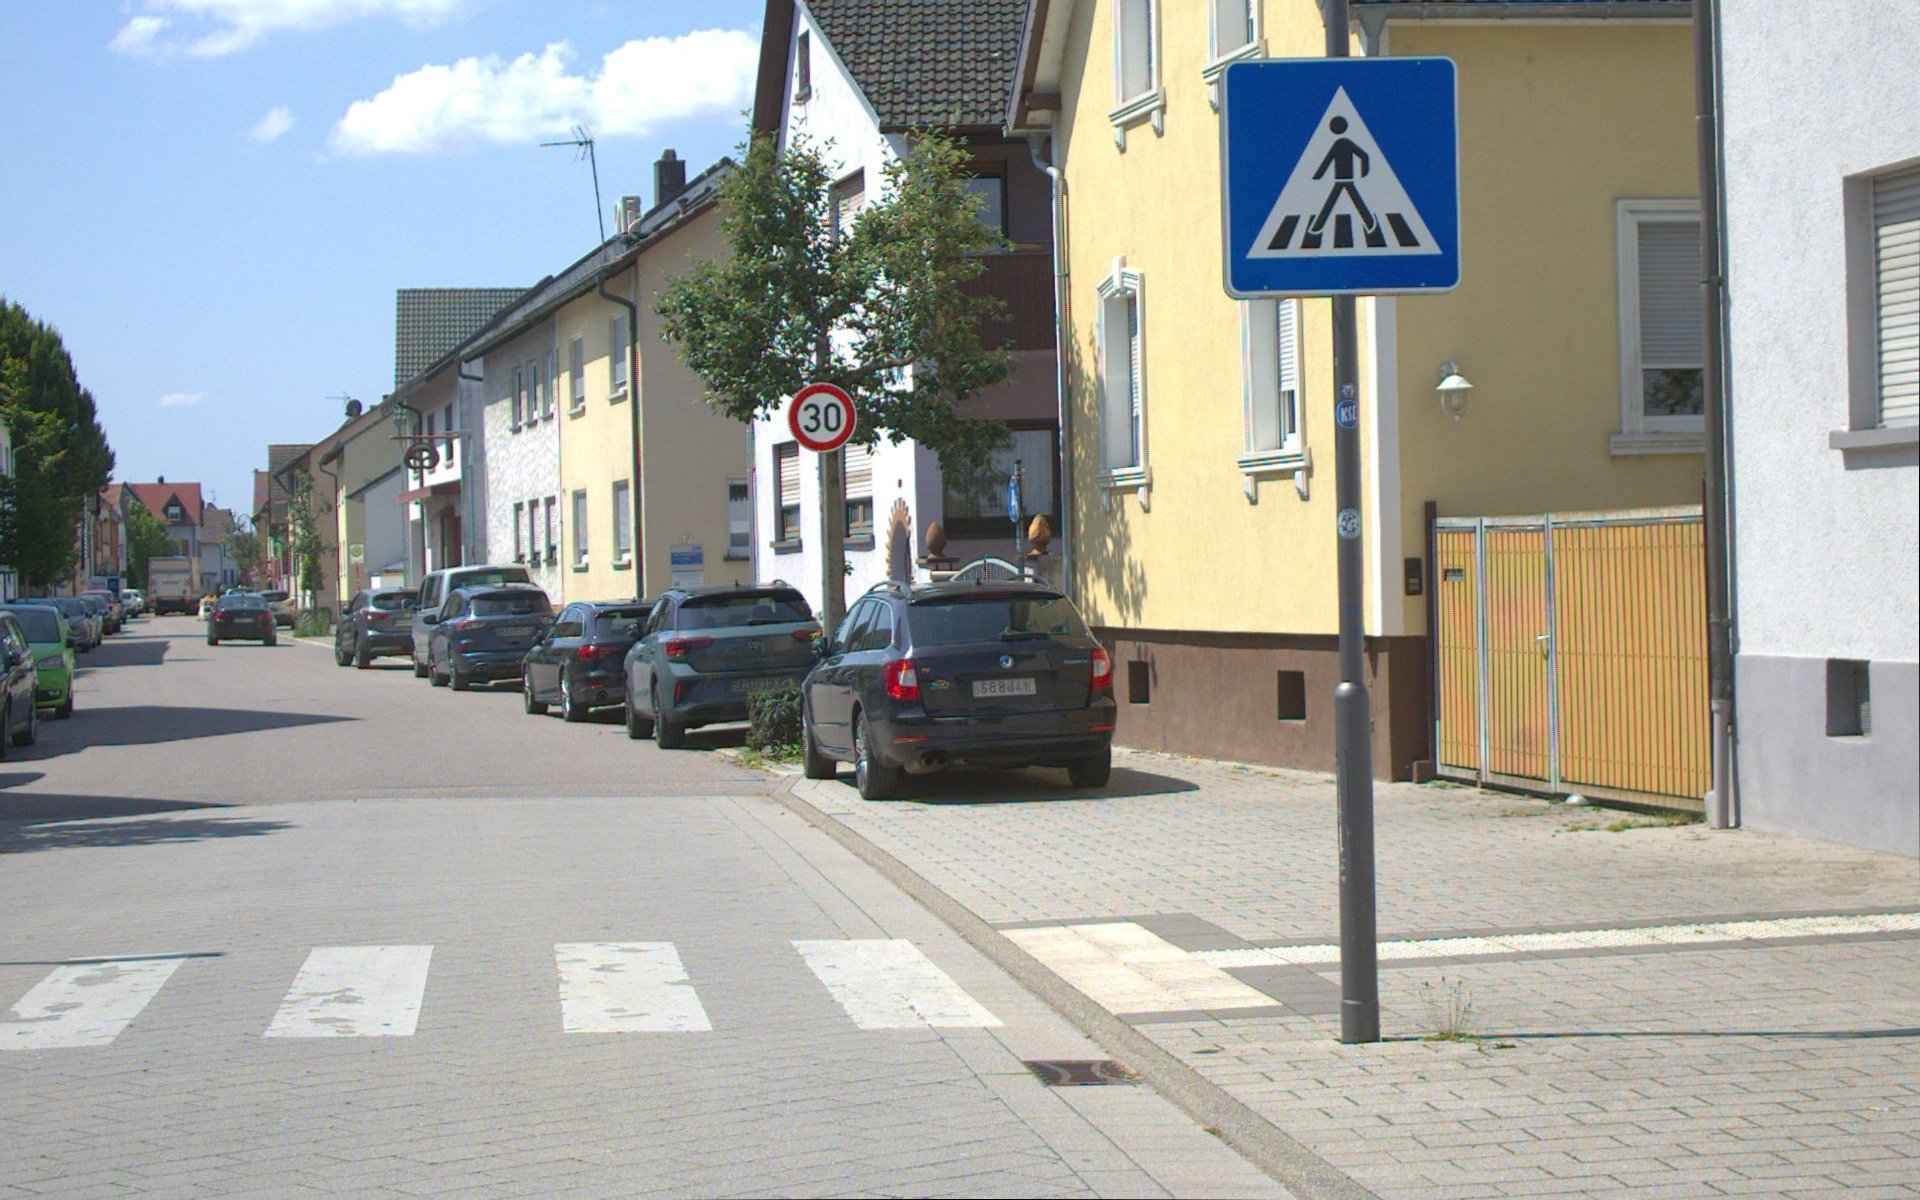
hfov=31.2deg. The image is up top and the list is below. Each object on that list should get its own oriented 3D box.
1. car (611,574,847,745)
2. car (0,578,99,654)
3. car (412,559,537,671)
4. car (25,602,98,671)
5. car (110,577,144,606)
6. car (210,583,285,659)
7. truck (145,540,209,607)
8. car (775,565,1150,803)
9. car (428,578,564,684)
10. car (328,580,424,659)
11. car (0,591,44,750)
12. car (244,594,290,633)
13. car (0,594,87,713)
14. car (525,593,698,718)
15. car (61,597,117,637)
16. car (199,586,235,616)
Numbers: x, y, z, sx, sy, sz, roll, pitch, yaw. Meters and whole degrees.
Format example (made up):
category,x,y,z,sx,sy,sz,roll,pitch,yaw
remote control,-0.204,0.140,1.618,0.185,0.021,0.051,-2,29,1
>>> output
category,x,y,z,sx,sy,sz,roll,pitch,yaw
car,-2.366,0.548,34.361,1.846,1.557,3.694,-2,1,-11
car,-21.196,0.346,80.102,1.993,1.656,4.001,-2,1,-12
car,-8.617,0.240,60.774,1.906,1.865,4.001,-2,1,-11
car,-24.236,0.962,92.789,1.683,1.752,3.616,-2,1,-12
car,-50.779,-0.539,209.580,1.846,1.701,3.720,-2,1,-12
car,-20.379,0.575,98.332,1.993,2.051,4.375,-2,1,-12
truck,-48.522,-1.640,212.898,3.563,3.940,8.583,-2,1,-14
car,-0.085,0.552,24.954,1.828,1.466,4.277,-3,1,-11
car,-7.501,0.469,55.277,1.877,1.586,4.001,-2,1,-11
car,-11.827,0.361,69.429,1.754,1.488,4.001,-2,1,-11
car,-10.555,0.689,35.590,1.750,1.527,4.261,0,1,-10
car,-27.065,0.521,134.246,1.687,1.447,3.794,-2,1,-11
car,-12.649,0.692,45.759,1.792,1.470,3.872,-2,1,-12
car,-4.279,0.642,41.785,1.710,1.382,3.707,-2,1,-11
car,-34.113,0.660,134.697,1.916,1.437,4.001,-2,1,-12
car,-38.937,0.043,180.134,1.687,1.447,3.794,-2,1,-14
